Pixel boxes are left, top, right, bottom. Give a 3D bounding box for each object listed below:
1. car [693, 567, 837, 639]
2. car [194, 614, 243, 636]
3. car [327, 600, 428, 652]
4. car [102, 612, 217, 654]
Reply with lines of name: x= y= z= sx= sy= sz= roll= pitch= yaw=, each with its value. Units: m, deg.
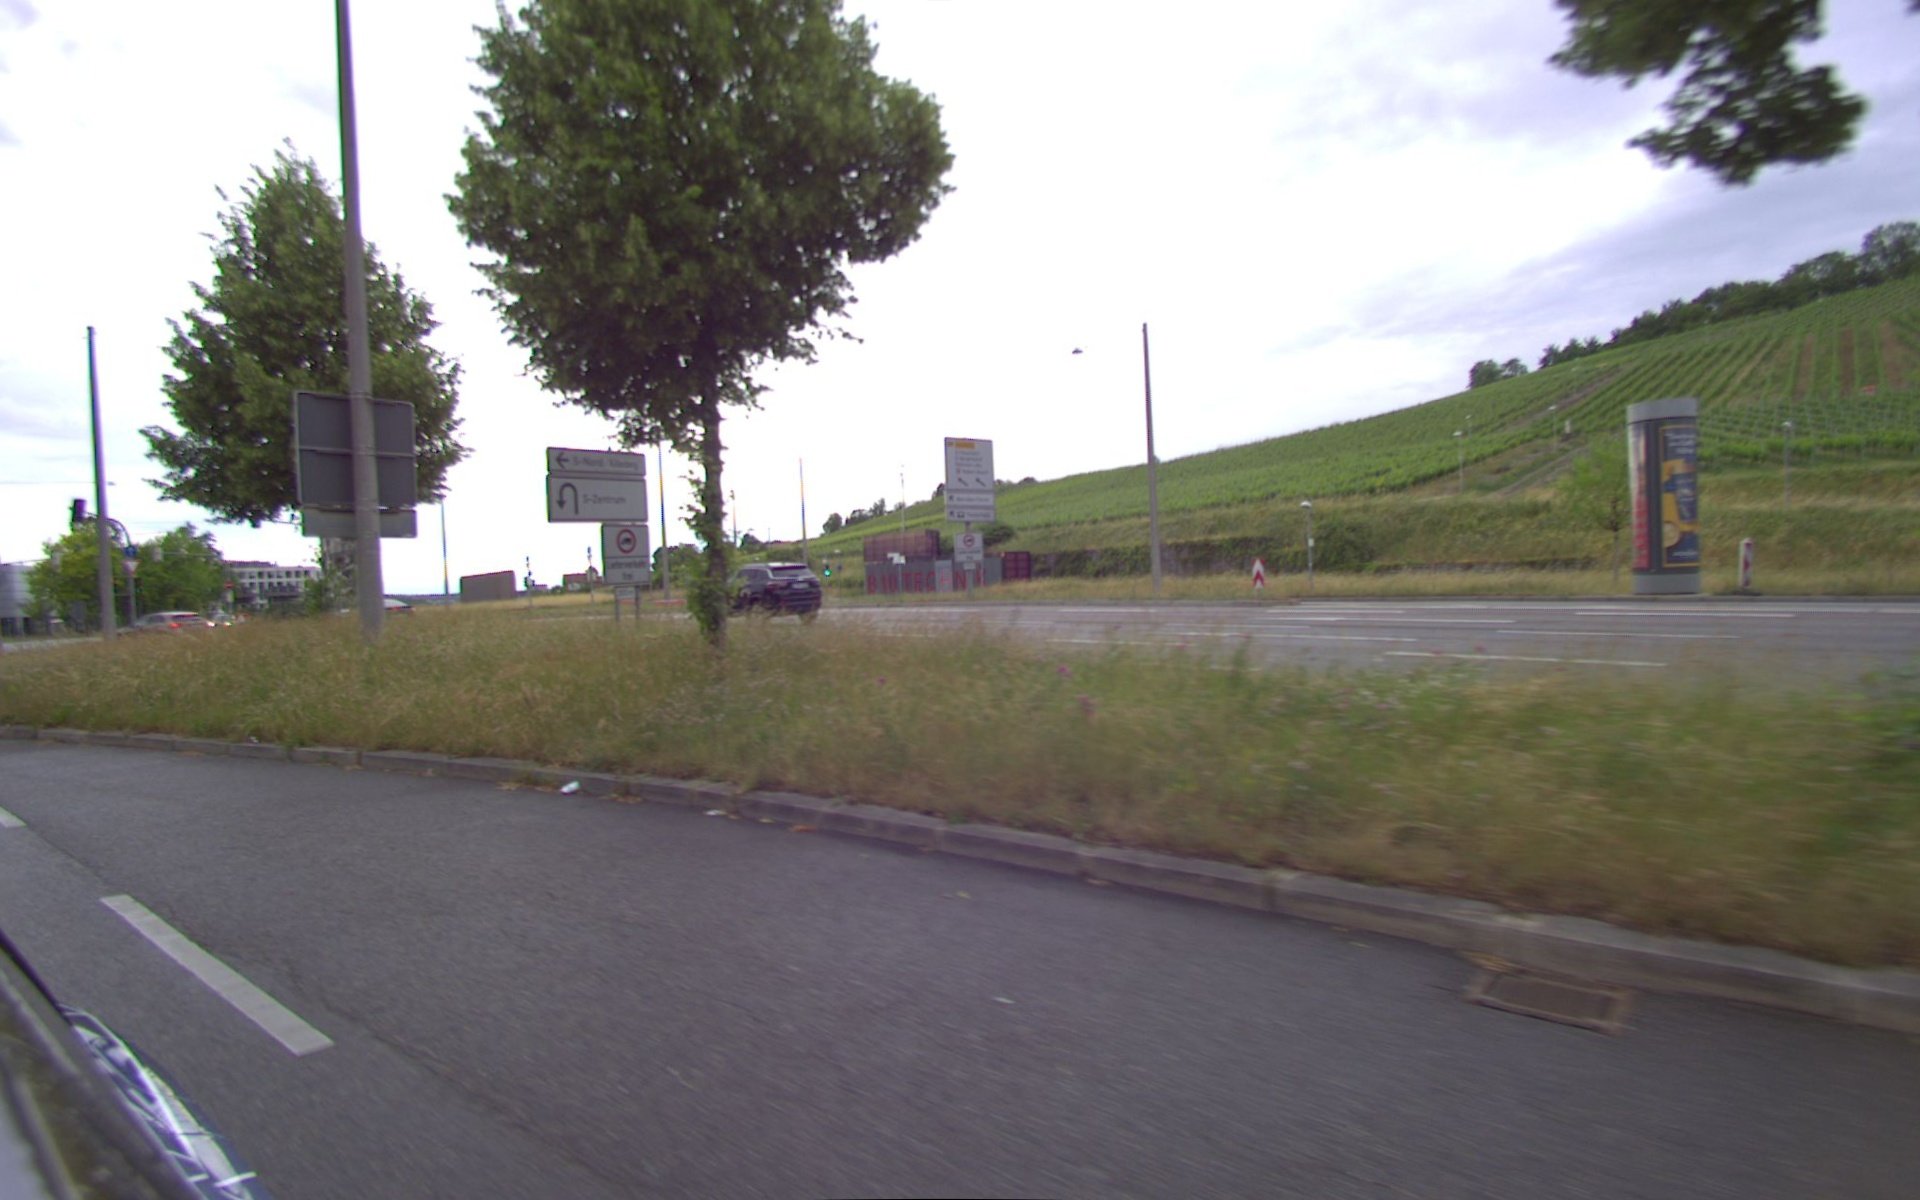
car: x=-5.285 y=0.102 z=27.216 sx=4.001 sy=1.763 sz=1.748 roll=-1 pitch=1 yaw=44
car: x=-61.863 y=2.082 z=84.463 sx=1.768 sy=1.600 sz=3.915 roll=-3 pitch=1 yaw=-11
car: x=-20.988 y=0.925 z=36.391 sx=4.356 sy=1.666 sz=1.858 roll=-1 pitch=1 yaw=42
car: x=-33.160 y=1.374 z=41.930 sx=4.309 sy=1.472 sz=1.728 roll=-3 pitch=1 yaw=21
